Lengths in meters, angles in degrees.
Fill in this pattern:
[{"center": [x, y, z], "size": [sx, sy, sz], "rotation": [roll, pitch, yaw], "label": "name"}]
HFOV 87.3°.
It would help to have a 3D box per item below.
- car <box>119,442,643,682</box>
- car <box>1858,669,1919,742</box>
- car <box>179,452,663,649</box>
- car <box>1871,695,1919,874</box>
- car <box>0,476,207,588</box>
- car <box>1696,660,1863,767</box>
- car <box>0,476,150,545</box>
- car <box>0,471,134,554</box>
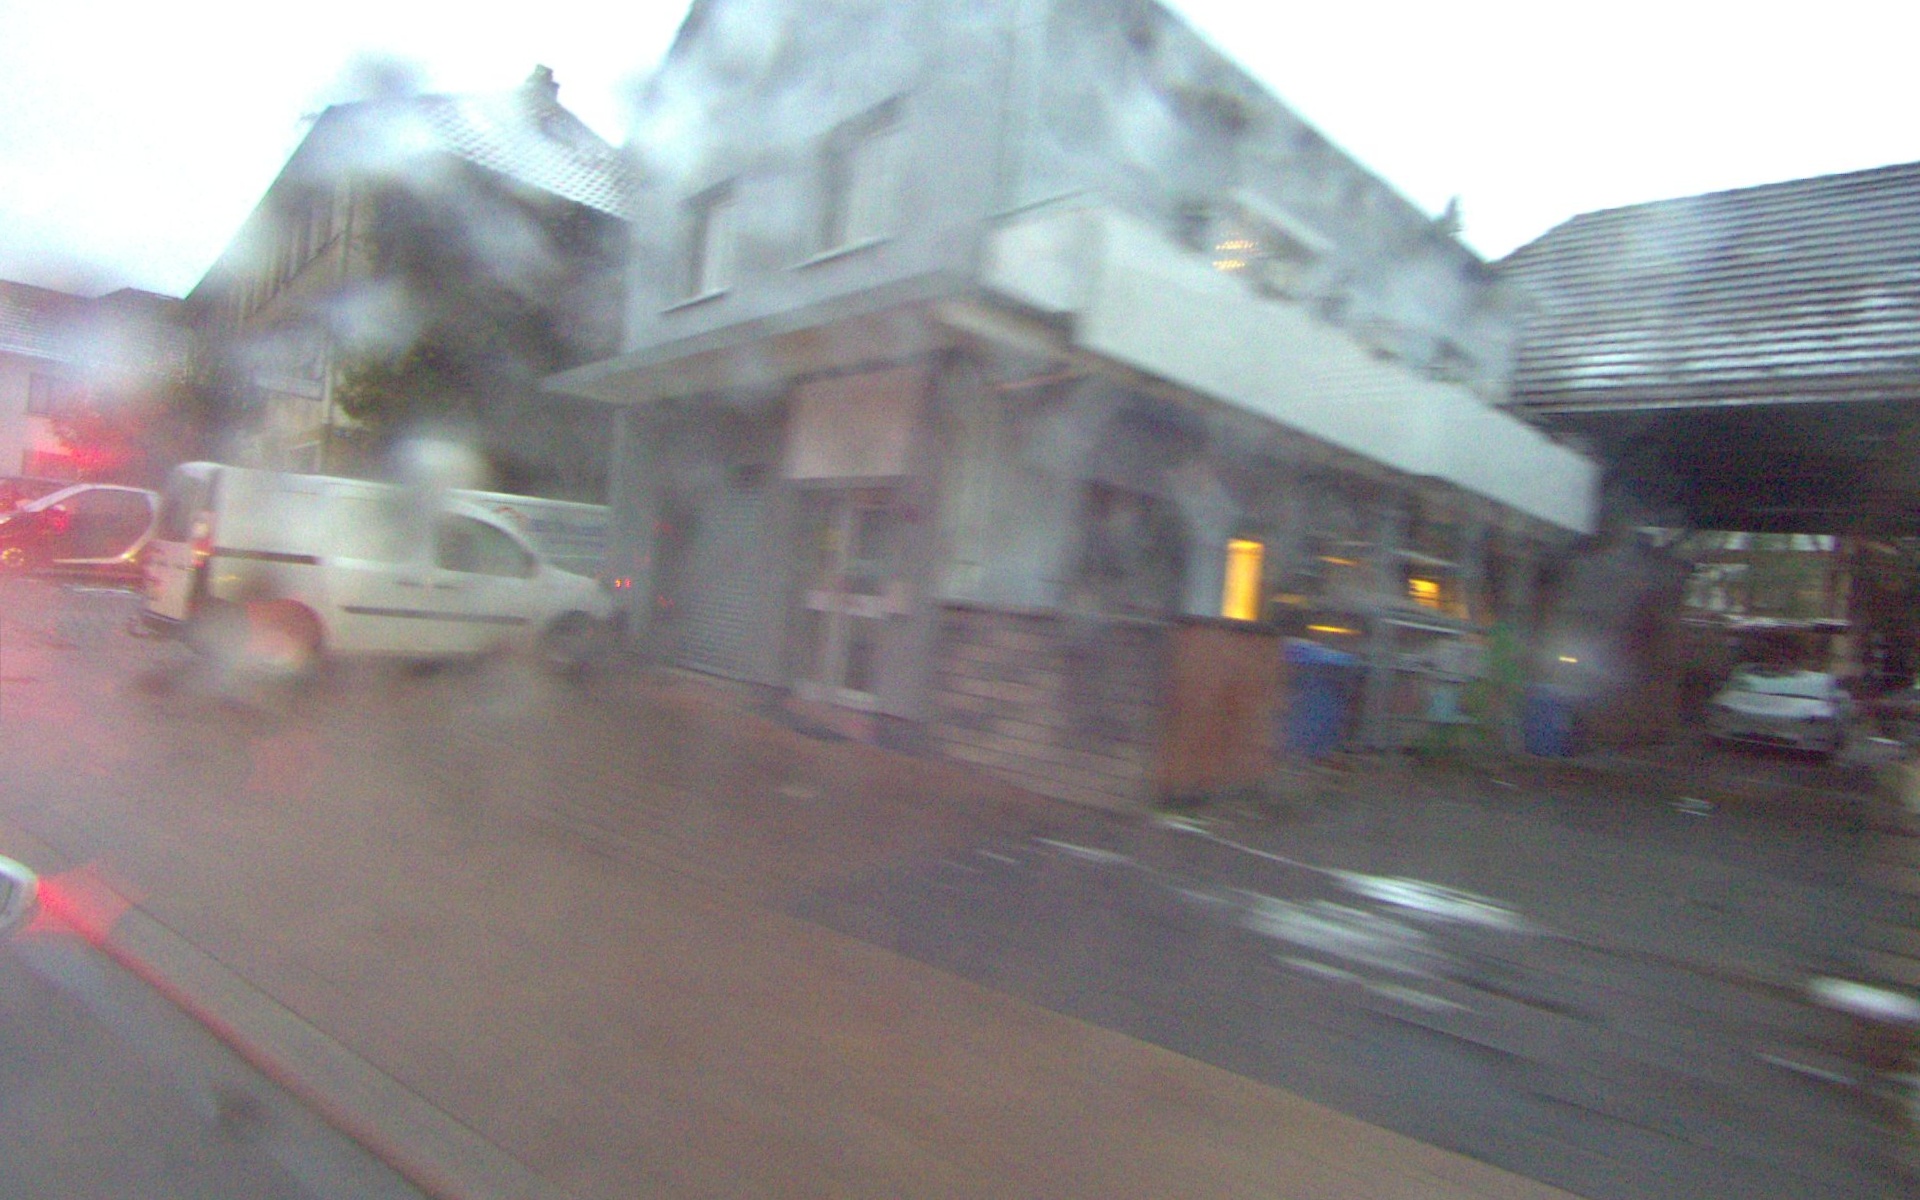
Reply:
[{"center": [-5.487, -0.267, 9.959], "size": [1.836, 1.867, 4.036], "rotation": [7, 2, 39], "label": "car"}, {"center": [21.585, 2.423, 22.388], "size": [3.479, 1.438, 1.686], "rotation": [6, 0, -38], "label": "car"}, {"center": [-6.555, -0.502, 12.730], "size": [1.911, 1.914, 4.966], "rotation": [8, 2, 43], "label": "car"}, {"center": [10.569, 1.869, 10.197], "size": [1.594, 1.562, 3.412], "rotation": [3, 0, 37], "label": "car"}, {"center": [-14.060, -1.086, 16.274], "size": [1.408, 1.493, 2.755], "rotation": [7, 2, 44], "label": "car"}, {"center": [16.520, 2.154, 20.189], "size": [2.045, 1.625, 4.701], "rotation": [6, 3, 44], "label": "car"}, {"center": [-25.039, -2.505, 27.856], "size": [3.885, 1.493, 1.729], "rotation": [5, 1, -44], "label": "car"}, {"center": [-20.538, -1.994, 22.806], "size": [1.530, 1.567, 2.576], "rotation": [8, 2, 43], "label": "car"}]
